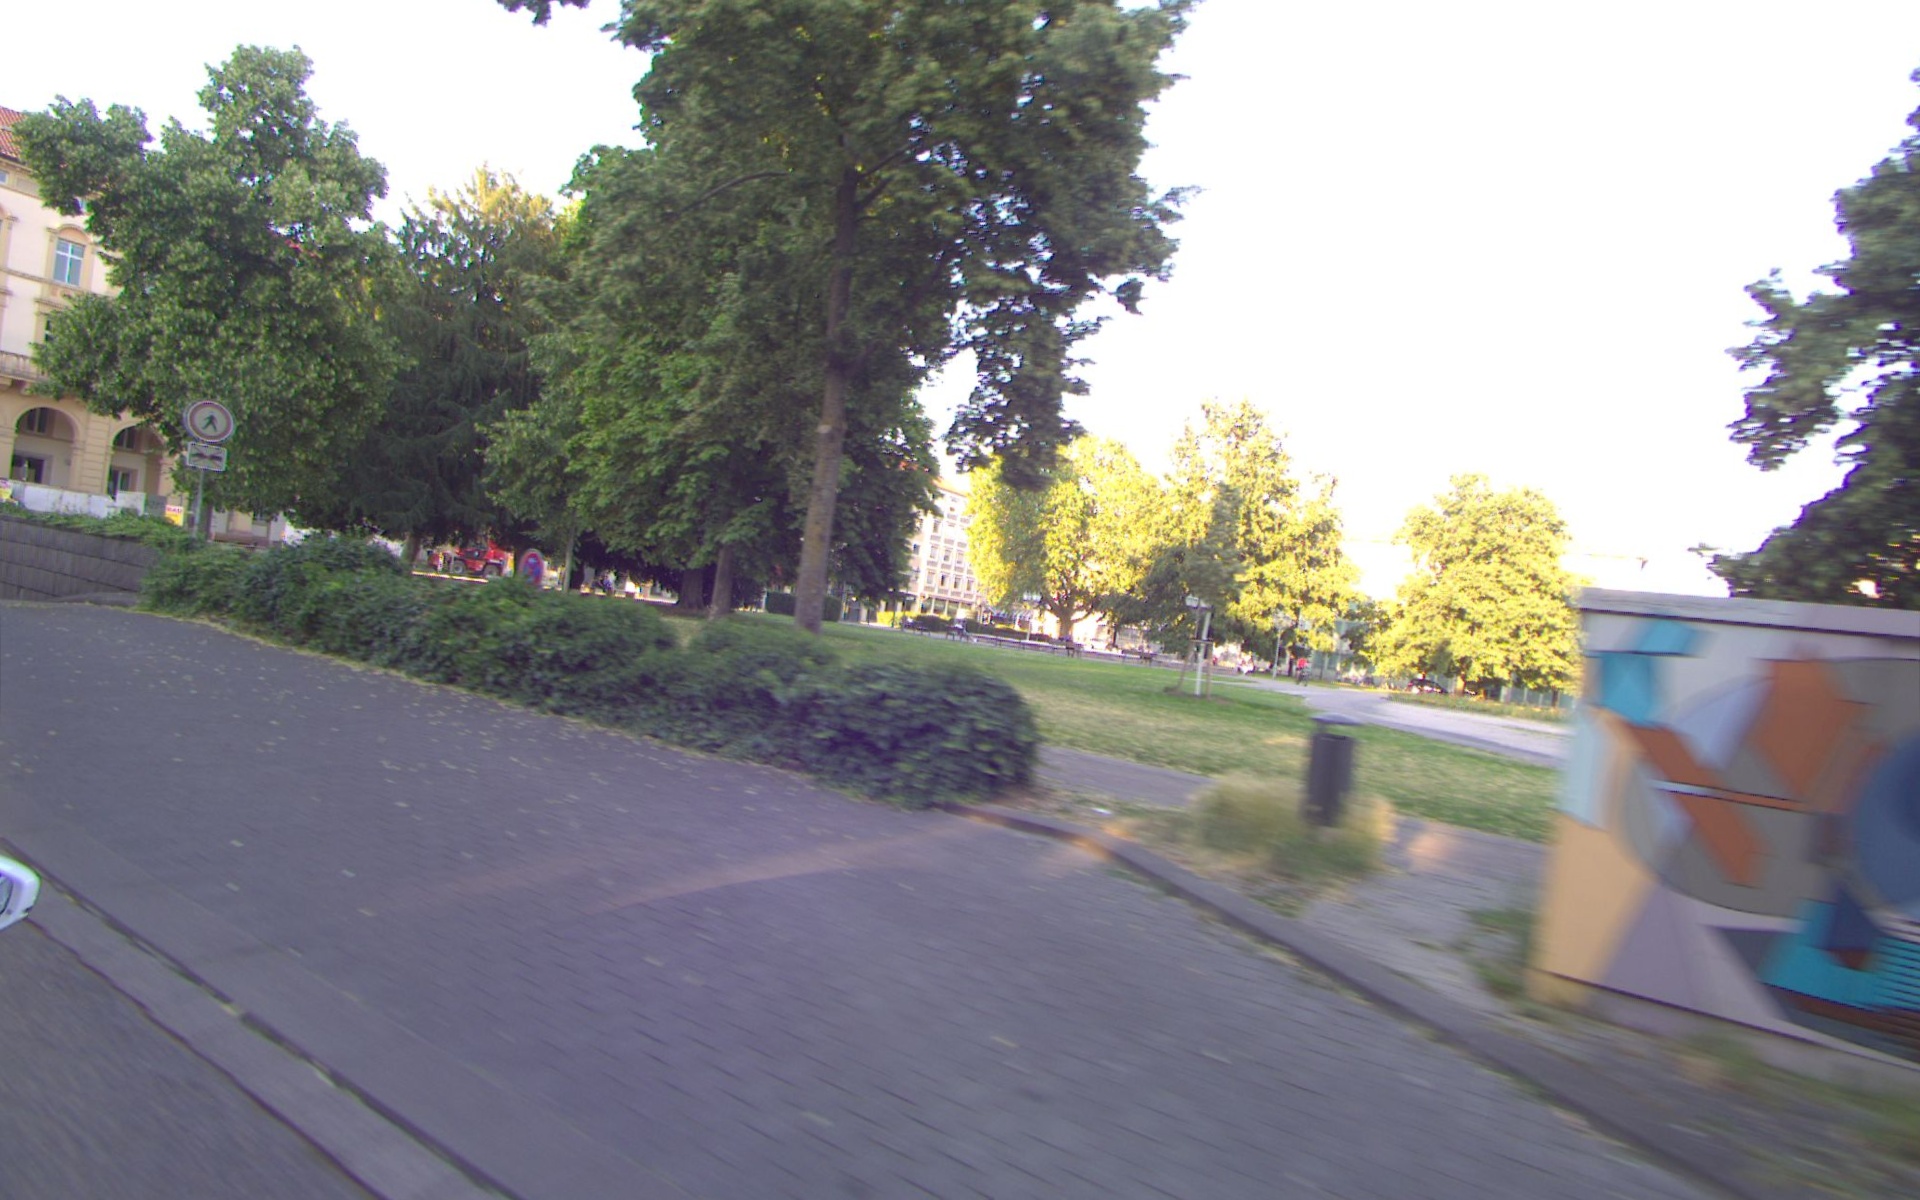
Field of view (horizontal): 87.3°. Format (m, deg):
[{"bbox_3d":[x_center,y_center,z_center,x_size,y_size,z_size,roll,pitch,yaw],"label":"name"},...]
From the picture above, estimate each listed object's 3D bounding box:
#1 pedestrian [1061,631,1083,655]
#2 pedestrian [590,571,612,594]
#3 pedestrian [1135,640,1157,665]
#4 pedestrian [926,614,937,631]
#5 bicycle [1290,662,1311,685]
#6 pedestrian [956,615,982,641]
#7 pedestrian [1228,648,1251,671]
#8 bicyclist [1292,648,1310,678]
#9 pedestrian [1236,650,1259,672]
[{"bbox_3d":[6.136,2.360,54.975,0.653,1.215,1.103,7,0,31],"label":"pedestrian"},{"bbox_3d":[-21.801,-1.041,61.089,0.911,1.267,0.708,6,0,28],"label":"pedestrian"},{"bbox_3d":[10.102,2.847,54.586,0.724,1.215,1.103,7,0,31],"label":"pedestrian"},{"bbox_3d":[-2.415,1.931,85.590,0.640,1.383,1.032,7,0,-7],"label":"pedestrian"},{"bbox_3d":[20.339,4.368,60.128,0.555,1.191,1.775,6,0,1],"label":"bicycle"},{"bbox_3d":[0.542,1.631,58.372,1.060,1.308,0.834,8,0,-39],"label":"pedestrian"},{"bbox_3d":[19.859,4.228,71.368,1.134,1.387,0.831,8,0,-21],"label":"pedestrian"},{"bbox_3d":[20.403,3.764,60.189,0.647,1.652,0.677,6,0,1],"label":"bicyclist"},{"bbox_3d":[20.153,4.261,70.464,1.134,1.387,0.831,8,0,-21],"label":"pedestrian"}]
